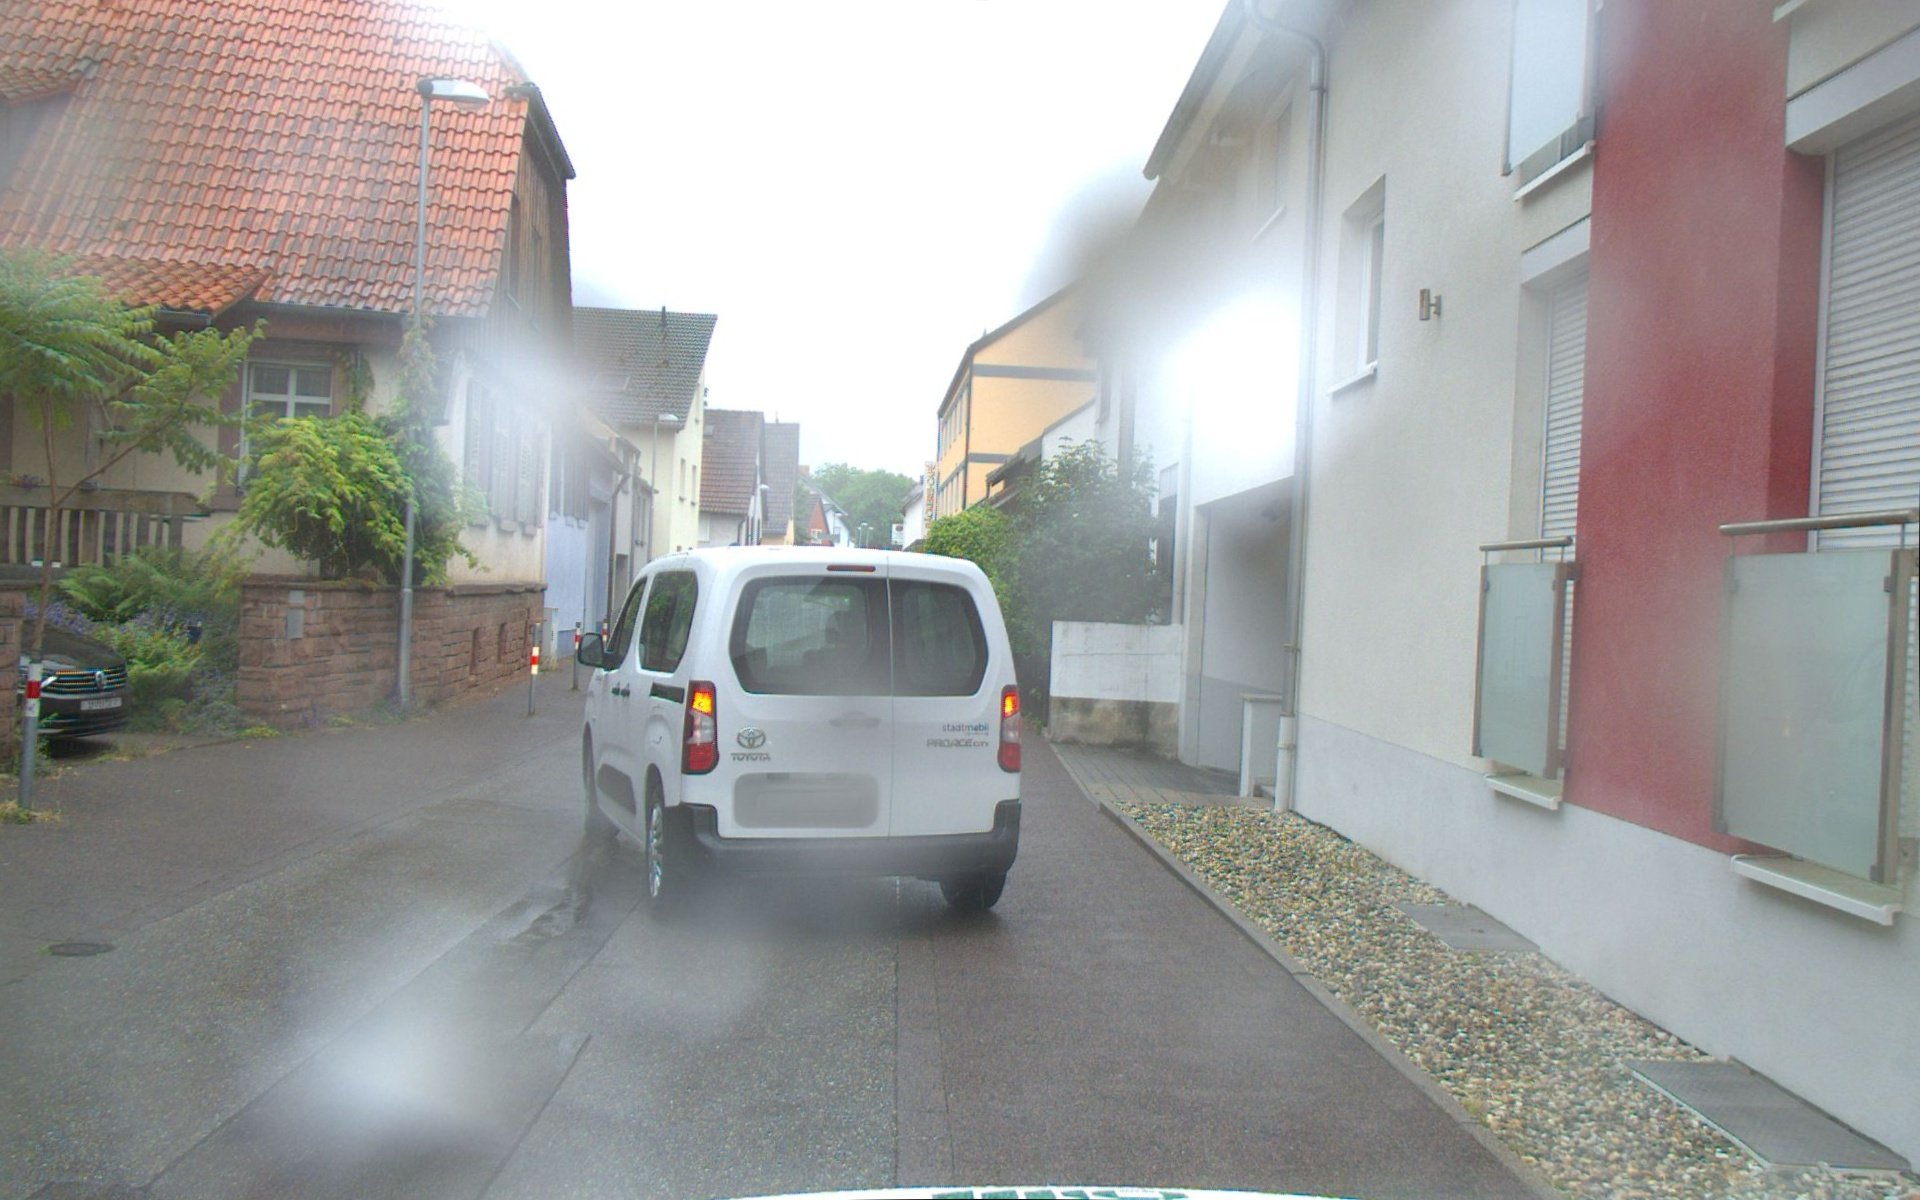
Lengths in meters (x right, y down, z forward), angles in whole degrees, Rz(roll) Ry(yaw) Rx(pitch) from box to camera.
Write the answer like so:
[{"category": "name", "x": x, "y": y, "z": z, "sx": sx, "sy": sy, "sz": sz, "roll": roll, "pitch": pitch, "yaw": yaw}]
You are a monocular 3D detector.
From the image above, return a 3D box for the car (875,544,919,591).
[{"category": "car", "x": -2.868, "y": -1.462, "z": 75.753, "sx": 1.953, "sy": 2.049, "sz": 3.999, "roll": 1, "pitch": 0, "yaw": -2}]

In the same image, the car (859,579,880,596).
[{"category": "car", "x": -8.515, "y": -1.188, "z": 155.364, "sx": 1.556, "sy": 1.466, "sz": 3.767, "roll": 4, "pitch": 0, "yaw": 2}]

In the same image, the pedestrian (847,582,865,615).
[{"category": "pedestrian", "x": -6.285, "y": -0.088, "z": 99.917, "sx": 1.030, "sy": 1.926, "sz": 0.876, "roll": 1, "pitch": 0, "yaw": -5}]

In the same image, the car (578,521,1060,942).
[{"category": "car", "x": -1.022, "y": 0.577, "z": 9.303, "sx": 1.748, "sy": 1.811, "sz": 3.978, "roll": 1, "pitch": 0, "yaw": -19}]

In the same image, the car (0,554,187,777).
[{"category": "car", "x": -8.323, "y": 0.286, "z": 12.600, "sx": 3.906, "sy": 1.449, "sz": 1.736, "roll": 7, "pitch": 0, "yaw": 3}]

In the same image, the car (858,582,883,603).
[{"category": "car", "x": -7.324, "y": -0.616, "z": 135.434, "sx": 1.953, "sy": 1.586, "sz": 3.431, "roll": -1, "pitch": 2, "yaw": -1}]
